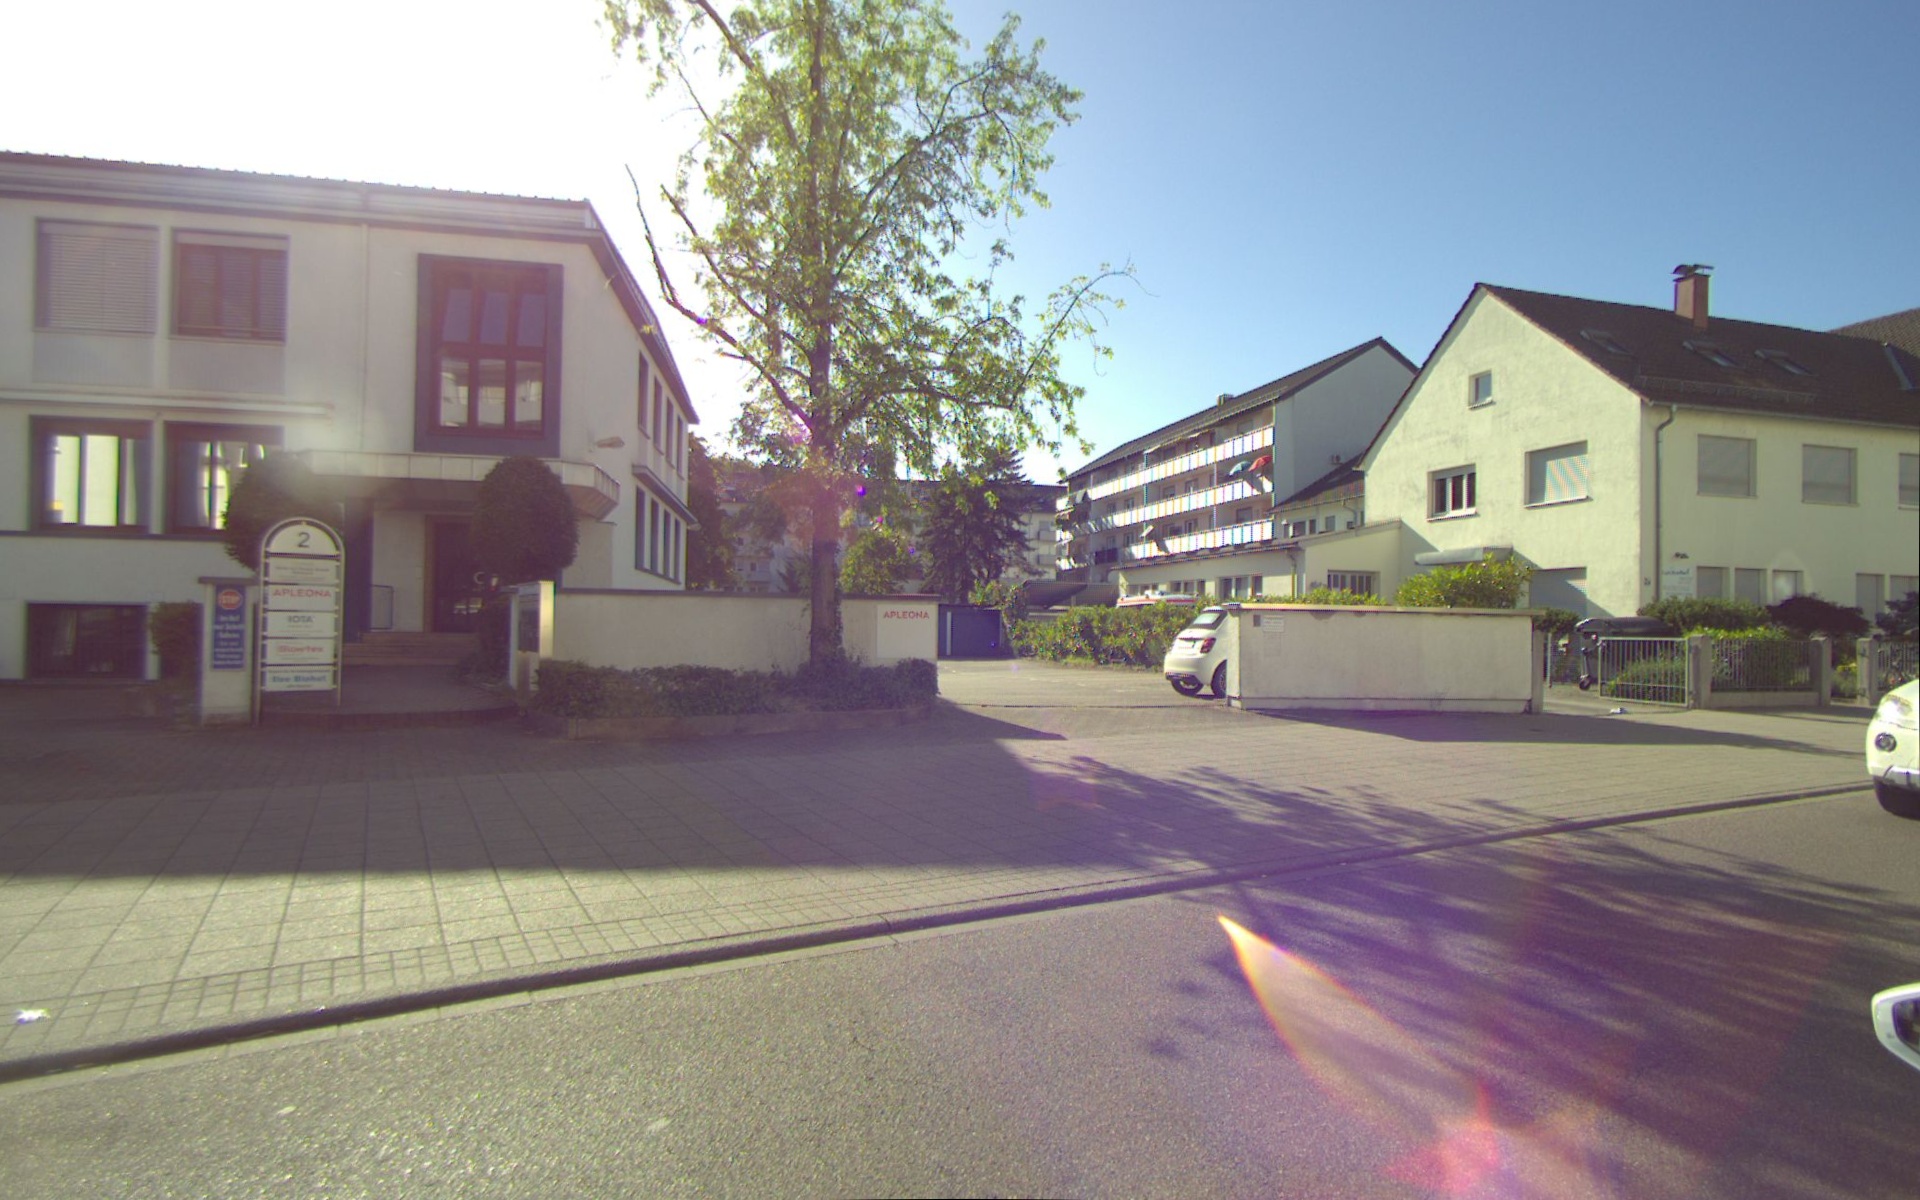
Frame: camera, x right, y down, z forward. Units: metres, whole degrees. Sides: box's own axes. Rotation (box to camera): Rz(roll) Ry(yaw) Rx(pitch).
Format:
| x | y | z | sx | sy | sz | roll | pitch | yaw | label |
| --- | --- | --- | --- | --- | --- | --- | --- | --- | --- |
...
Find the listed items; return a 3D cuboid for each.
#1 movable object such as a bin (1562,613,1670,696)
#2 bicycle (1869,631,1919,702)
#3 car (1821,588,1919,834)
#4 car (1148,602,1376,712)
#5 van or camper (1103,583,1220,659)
| x | y | z | sx | sy | sz | roll | pitch | yaw | label |
| --- | --- | --- | --- | --- | --- | --- | --- | --- | --- |
| 12.773 | 1.050 | 19.584 | 1.208 | 1.509 | 1.282 | 4 | -2 | -18 | movable object such as a bin |
| 17.841 | 1.272 | 18.815 | 1.901 | 1.266 | 0.455 | 4 | -3 | -23 | bicycle |
| 9.253 | 0.861 | 7.936 | 4.455 | 1.808 | 1.985 | 2 | -2 | -23 | car |
| 4.974 | 0.954 | 16.751 | 3.133 | 1.576 | 1.802 | 4 | -2 | -11 | car |
| 7.061 | 0.828 | 35.859 | 2.113 | 2.429 | 5.224 | 2 | -3 | -13 | van or camper |
